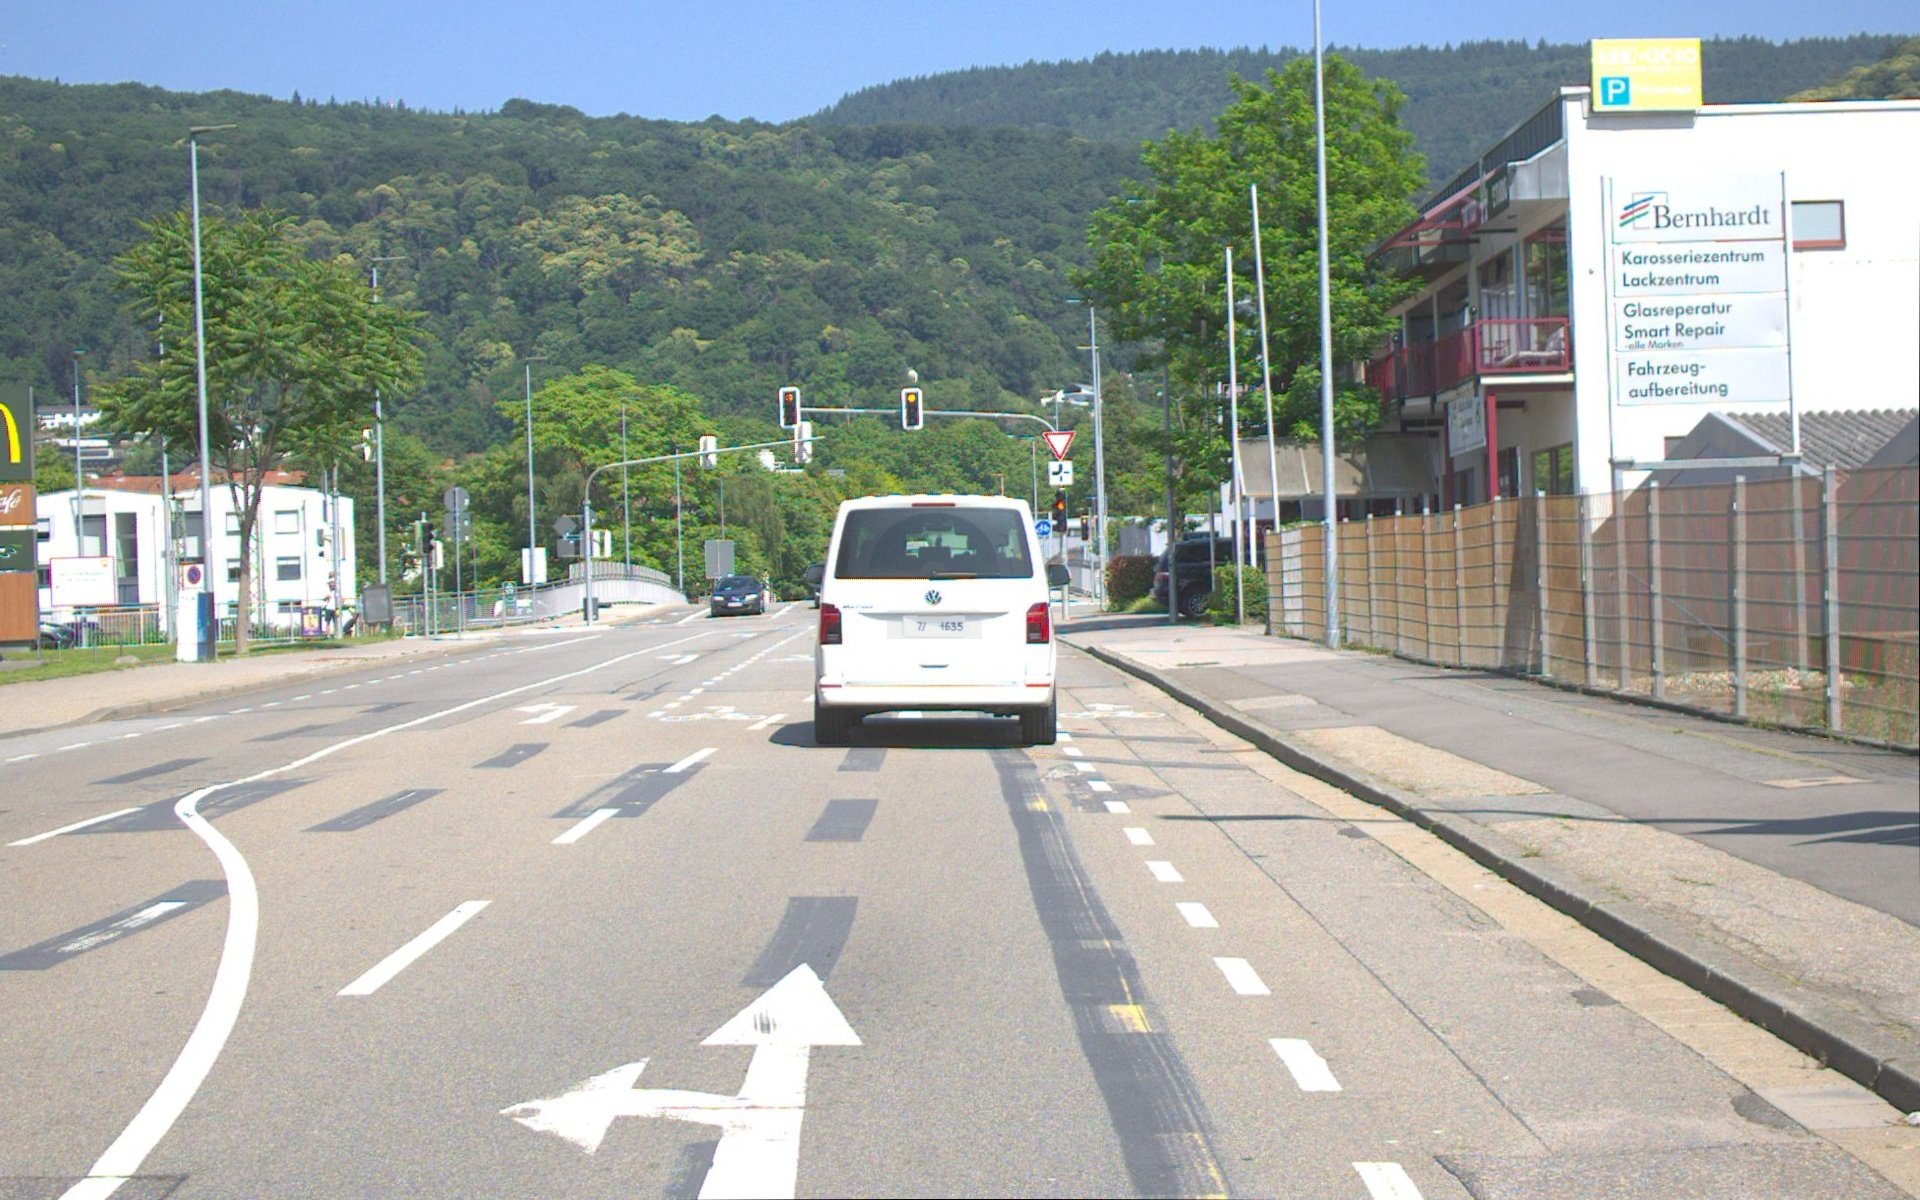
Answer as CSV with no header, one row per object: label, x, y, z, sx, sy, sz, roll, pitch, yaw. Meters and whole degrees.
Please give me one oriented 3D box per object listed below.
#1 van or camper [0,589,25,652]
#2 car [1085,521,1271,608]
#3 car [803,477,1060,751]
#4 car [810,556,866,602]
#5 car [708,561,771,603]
van or camper,-26.166,0.528,88.433,3.986,1.568,2.001,0,1,-18
car,4.867,-0.795,76.269,3.988,1.769,2.000,-2,1,6
car,-0.292,0.057,28.278,1.934,2.052,4.545,0,1,-2
car,-4.421,-0.779,125.335,1.849,1.583,4.000,-2,1,0
car,-7.799,-0.657,121.741,1.993,1.365,4.327,-2,1,-1
